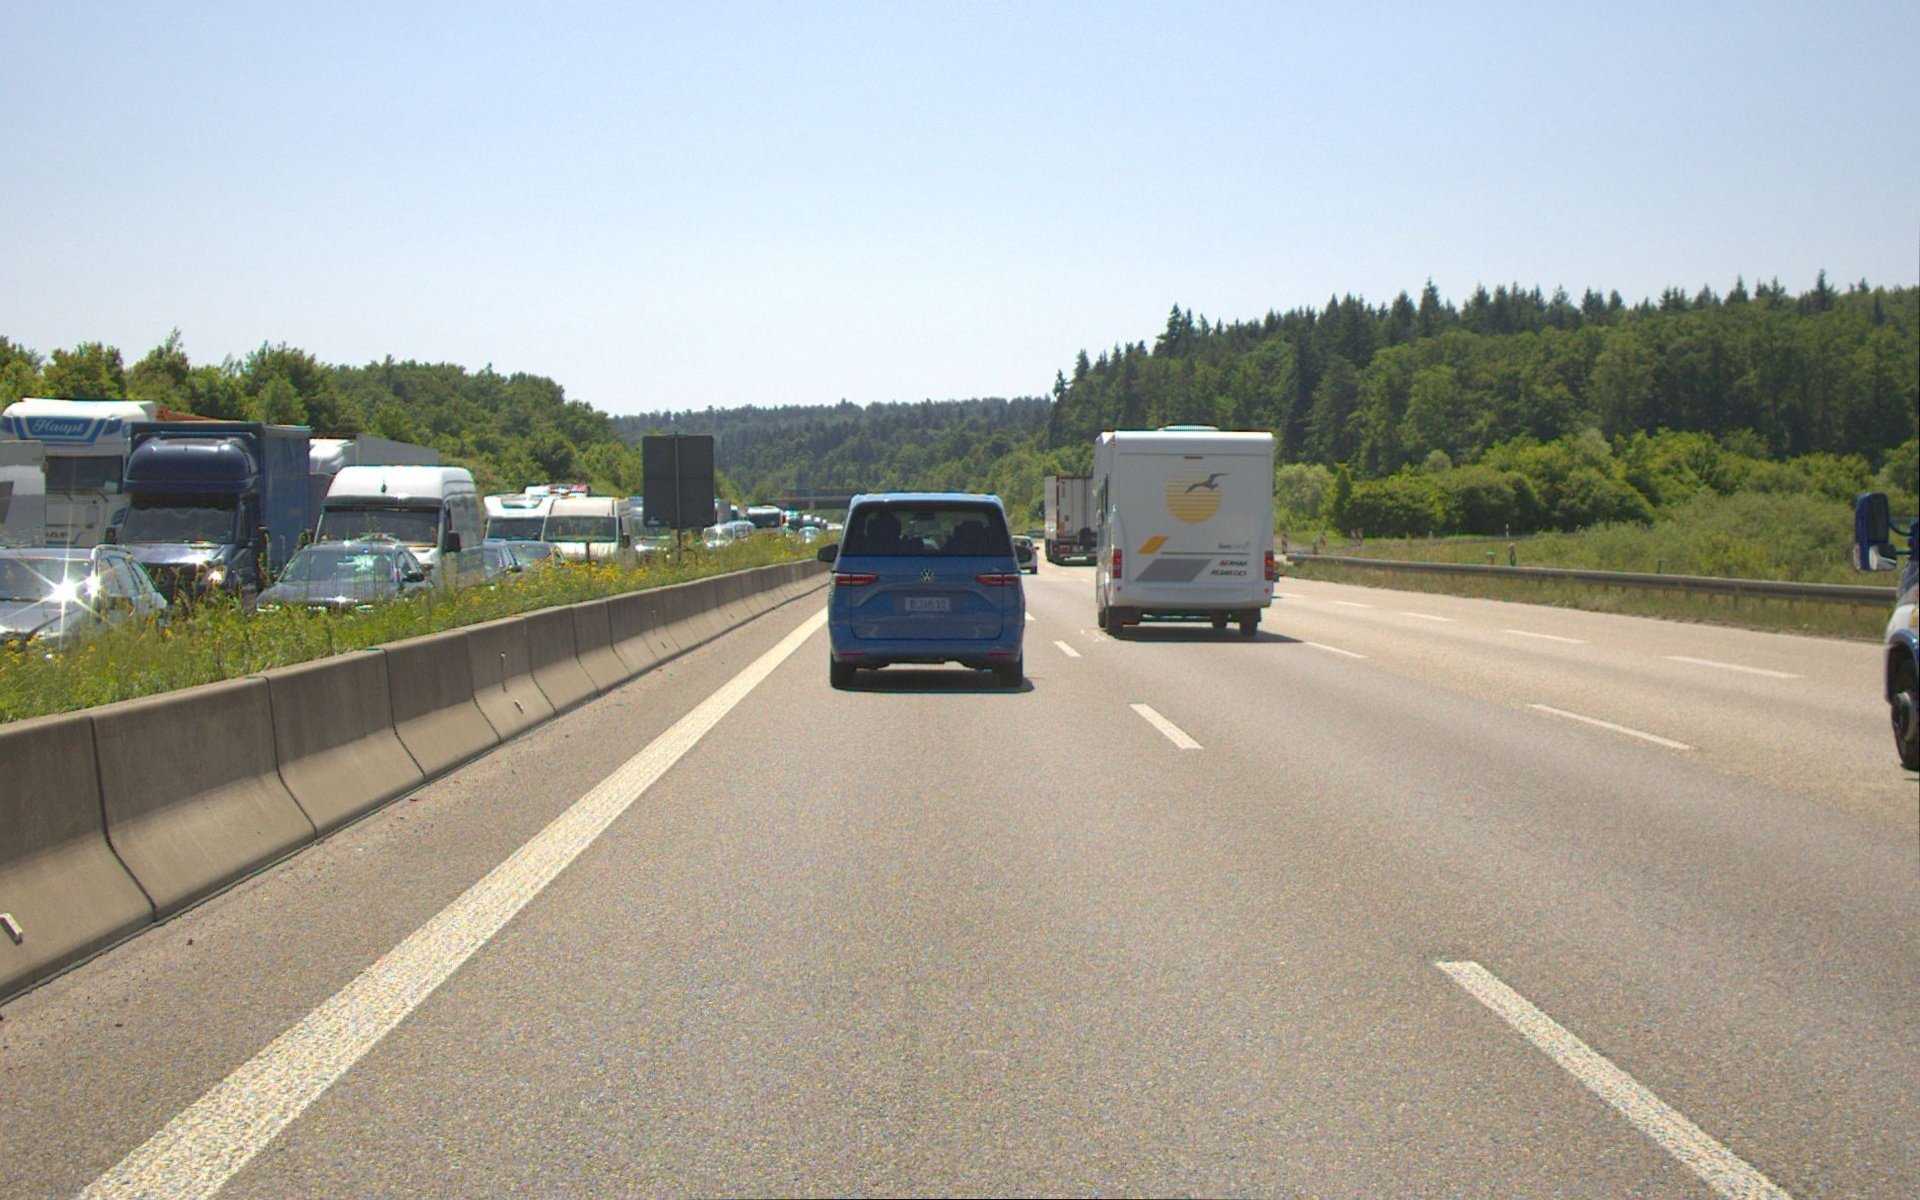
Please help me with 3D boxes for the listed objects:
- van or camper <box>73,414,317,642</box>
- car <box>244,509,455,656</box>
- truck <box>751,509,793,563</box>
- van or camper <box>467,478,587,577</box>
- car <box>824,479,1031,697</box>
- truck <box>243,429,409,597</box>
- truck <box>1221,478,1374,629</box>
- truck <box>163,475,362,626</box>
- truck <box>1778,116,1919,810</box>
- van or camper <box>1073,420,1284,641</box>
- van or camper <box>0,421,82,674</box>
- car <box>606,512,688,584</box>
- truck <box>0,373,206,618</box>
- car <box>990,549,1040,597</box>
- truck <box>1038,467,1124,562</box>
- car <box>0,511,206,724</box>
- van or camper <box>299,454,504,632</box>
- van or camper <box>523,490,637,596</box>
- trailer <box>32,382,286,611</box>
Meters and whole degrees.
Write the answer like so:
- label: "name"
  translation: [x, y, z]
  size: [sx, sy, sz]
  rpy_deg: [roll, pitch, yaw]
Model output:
- label: "van or camper"
  translation: [-12.097, -1.115, 54.986]
  size: [2.312, 3.378, 7.681]
  rpy_deg: [0, 1, -1]
- label: "car"
  translation: [-7.622, -0.240, 43.352]
  size: [1.811, 1.724, 4.935]
  rpy_deg: [1, 1, 0]
- label: "truck"
  translation: [-13.683, -4.638, 250.199]
  size: [2.618, 3.876, 7.403]
  rpy_deg: [-1, 1, 0]
- label: "van or camper"
  translation: [-13.191, -2.184, 105.341]
  size: [2.545, 2.927, 7.827]
  rpy_deg: [0, 1, 1]
- label: "car"
  translation: [-0.336, -0.161, 34.339]
  size: [1.909, 2.007, 4.000]
  rpy_deg: [-1, 1, -1]
- label: "truck"
  translation: [-16.292, -2.191, 88.982]
  size: [2.573, 4.064, 9.695]
  rpy_deg: [1, 1, -1]
- label: "truck"
  translation: [8.404, -1.252, 86.532]
  size: [2.928, 3.562, 8.527]
  rpy_deg: [-1, 2, 0]
- label: "truck"
  translation: [-12.231, -0.869, 60.746]
  size: [2.234, 2.497, 6.863]
  rpy_deg: [0, 1, -1]
- label: "truck"
  translation: [7.144, -0.773, 18.455]
  size: [2.783, 4.114, 9.741]
  rpy_deg: [1, 1, -2]
- label: "van or camper"
  translation: [3.189, -1.125, 51.897]
  size: [2.603, 3.068, 7.183]
  rpy_deg: [1, 2, -1]
- label: "van or camper"
  translation: [-12.145, -0.618, 39.782]
  size: [2.151, 2.913, 7.225]
  rpy_deg: [1, 1, -1]
- label: "car"
  translation: [-8.867, -1.490, 97.735]
  size: [1.993, 2.007, 4.000]
  rpy_deg: [0, 1, -1]
- label: "truck"
  translation: [-16.200, -1.900, 64.575]
  size: [2.589, 4.311, 7.294]
  rpy_deg: [1, 1, -2]
- label: "car"
  translation: [2.123, -1.060, 133.130]
  size: [1.818, 1.788, 3.894]
  rpy_deg: [1, 1, -1]
- label: "truck"
  translation: [5.453, -3.861, 156.578]
  size: [3.487, 4.156, 8.642]
  rpy_deg: [1, 1, -1]
- label: "car"
  translation: [-8.119, 0.100, 30.437]
  size: [1.811, 1.724, 4.973]
  rpy_deg: [1, 1, 0]
- label: "van or camper"
  translation: [-8.412, -0.860, 52.381]
  size: [2.193, 2.532, 6.417]
  rpy_deg: [0, 1, -1]
- label: "van or camper"
  translation: [-9.208, -1.377, 83.761]
  size: [2.193, 2.497, 6.059]
  rpy_deg: [0, 1, -1]
- label: "trailer"
  translation: [-16.325, -2.035, 71.026]
  size: [2.611, 4.295, 12.001]
  rpy_deg: [1, 1, -1]
